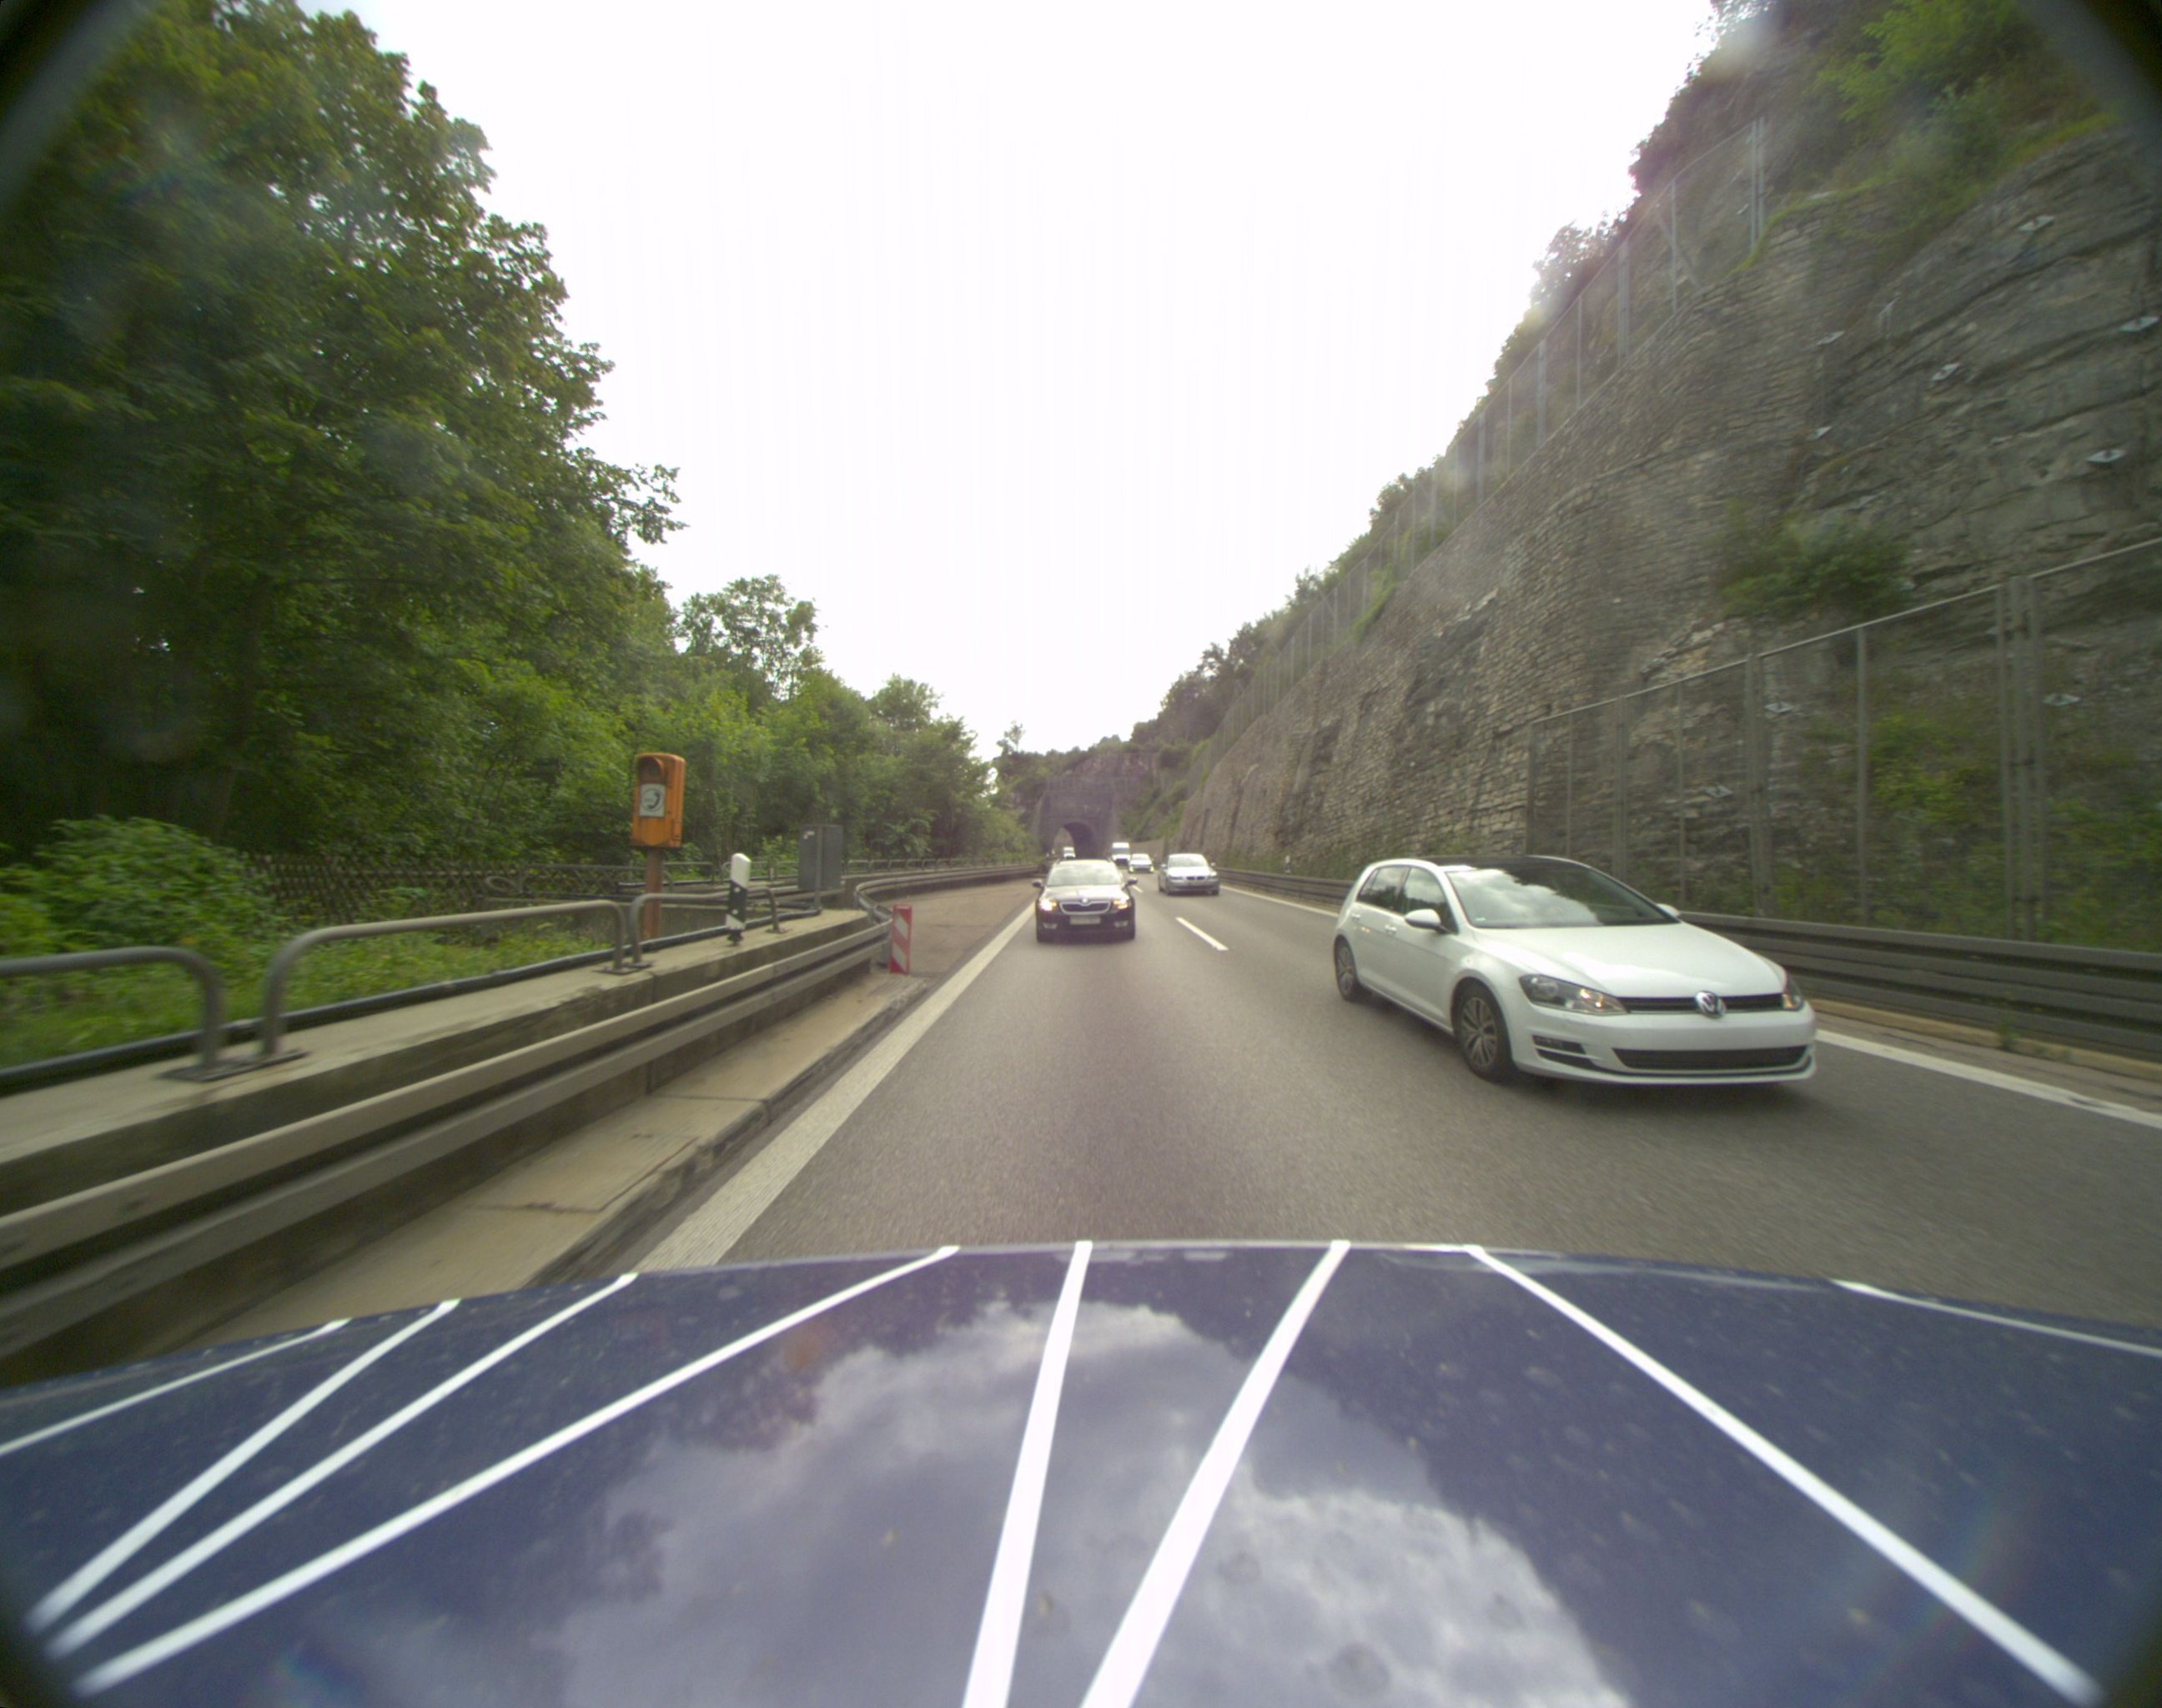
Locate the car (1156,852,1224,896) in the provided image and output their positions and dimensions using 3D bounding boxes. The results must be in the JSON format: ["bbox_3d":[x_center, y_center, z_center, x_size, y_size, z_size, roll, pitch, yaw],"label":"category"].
[{"bbox_3d":[3.927,0.669,28.188,1.832,1.448,5.135,-1,0,1],"label":"car"}]

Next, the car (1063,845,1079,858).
[{"bbox_3d":[-1.910,-0.469,143.817,2.675,2.408,6.119,-1,0,-3],"label":"car"}]

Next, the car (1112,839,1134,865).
[{"bbox_3d":[4.206,-0.243,77.560,1.869,2.444,4.981,-1,2,-1],"label":"car"}]

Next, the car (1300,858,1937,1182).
[{"bbox_3d":[3.401,0.856,6.160,1.849,1.473,4.626,-2,1,0],"label":"car"}]

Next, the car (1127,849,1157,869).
[{"bbox_3d":[4.659,0.384,58.464,1.923,1.452,4.230,-1,0,0],"label":"car"}]

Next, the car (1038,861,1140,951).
[{"bbox_3d":[0.115,0.897,14.990,1.677,1.418,4.472,-1,0,0],"label":"car"}]
